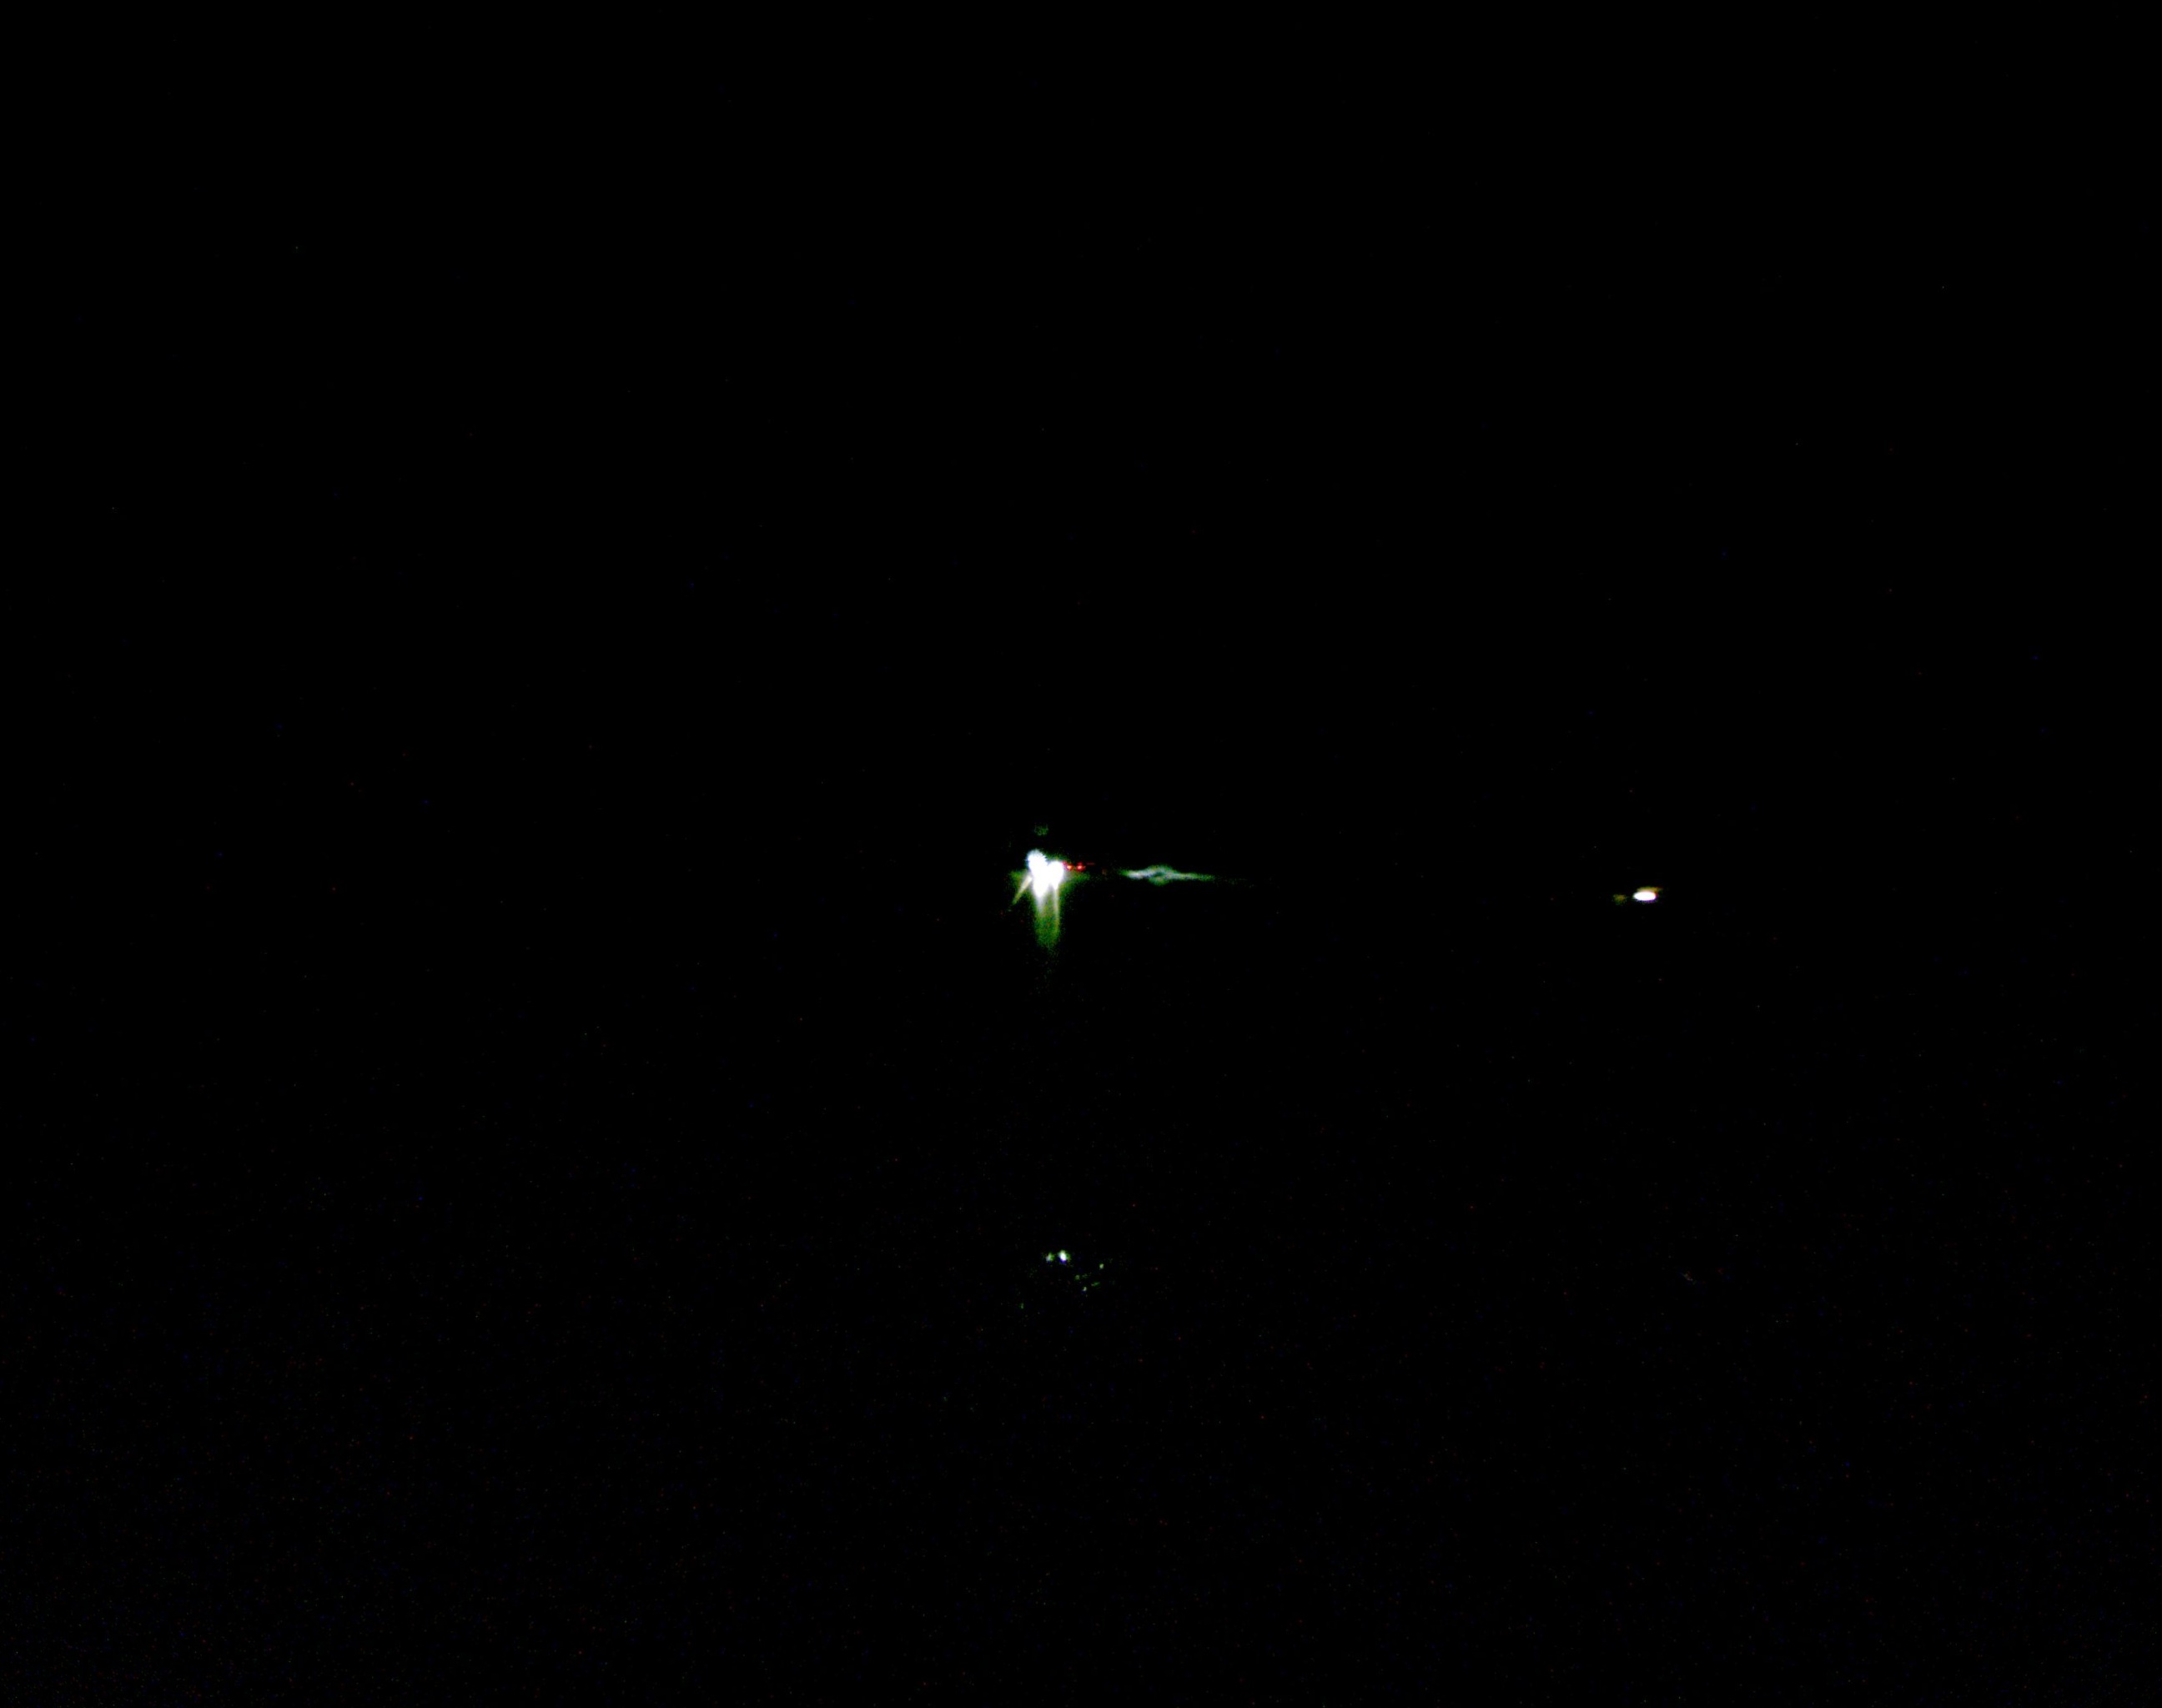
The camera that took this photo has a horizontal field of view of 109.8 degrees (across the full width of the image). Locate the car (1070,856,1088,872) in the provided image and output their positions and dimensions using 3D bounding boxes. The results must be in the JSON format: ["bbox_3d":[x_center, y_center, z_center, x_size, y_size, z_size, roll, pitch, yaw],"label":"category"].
[{"bbox_3d":[-0.288,1.227,95.561,1.999,1.814,4.562,-1,0,-3],"label":"car"}]

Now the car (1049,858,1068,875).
[{"bbox_3d":[-2.469,1.356,83.935,1.999,1.724,3.999,3,0,-2],"label":"car"}]
